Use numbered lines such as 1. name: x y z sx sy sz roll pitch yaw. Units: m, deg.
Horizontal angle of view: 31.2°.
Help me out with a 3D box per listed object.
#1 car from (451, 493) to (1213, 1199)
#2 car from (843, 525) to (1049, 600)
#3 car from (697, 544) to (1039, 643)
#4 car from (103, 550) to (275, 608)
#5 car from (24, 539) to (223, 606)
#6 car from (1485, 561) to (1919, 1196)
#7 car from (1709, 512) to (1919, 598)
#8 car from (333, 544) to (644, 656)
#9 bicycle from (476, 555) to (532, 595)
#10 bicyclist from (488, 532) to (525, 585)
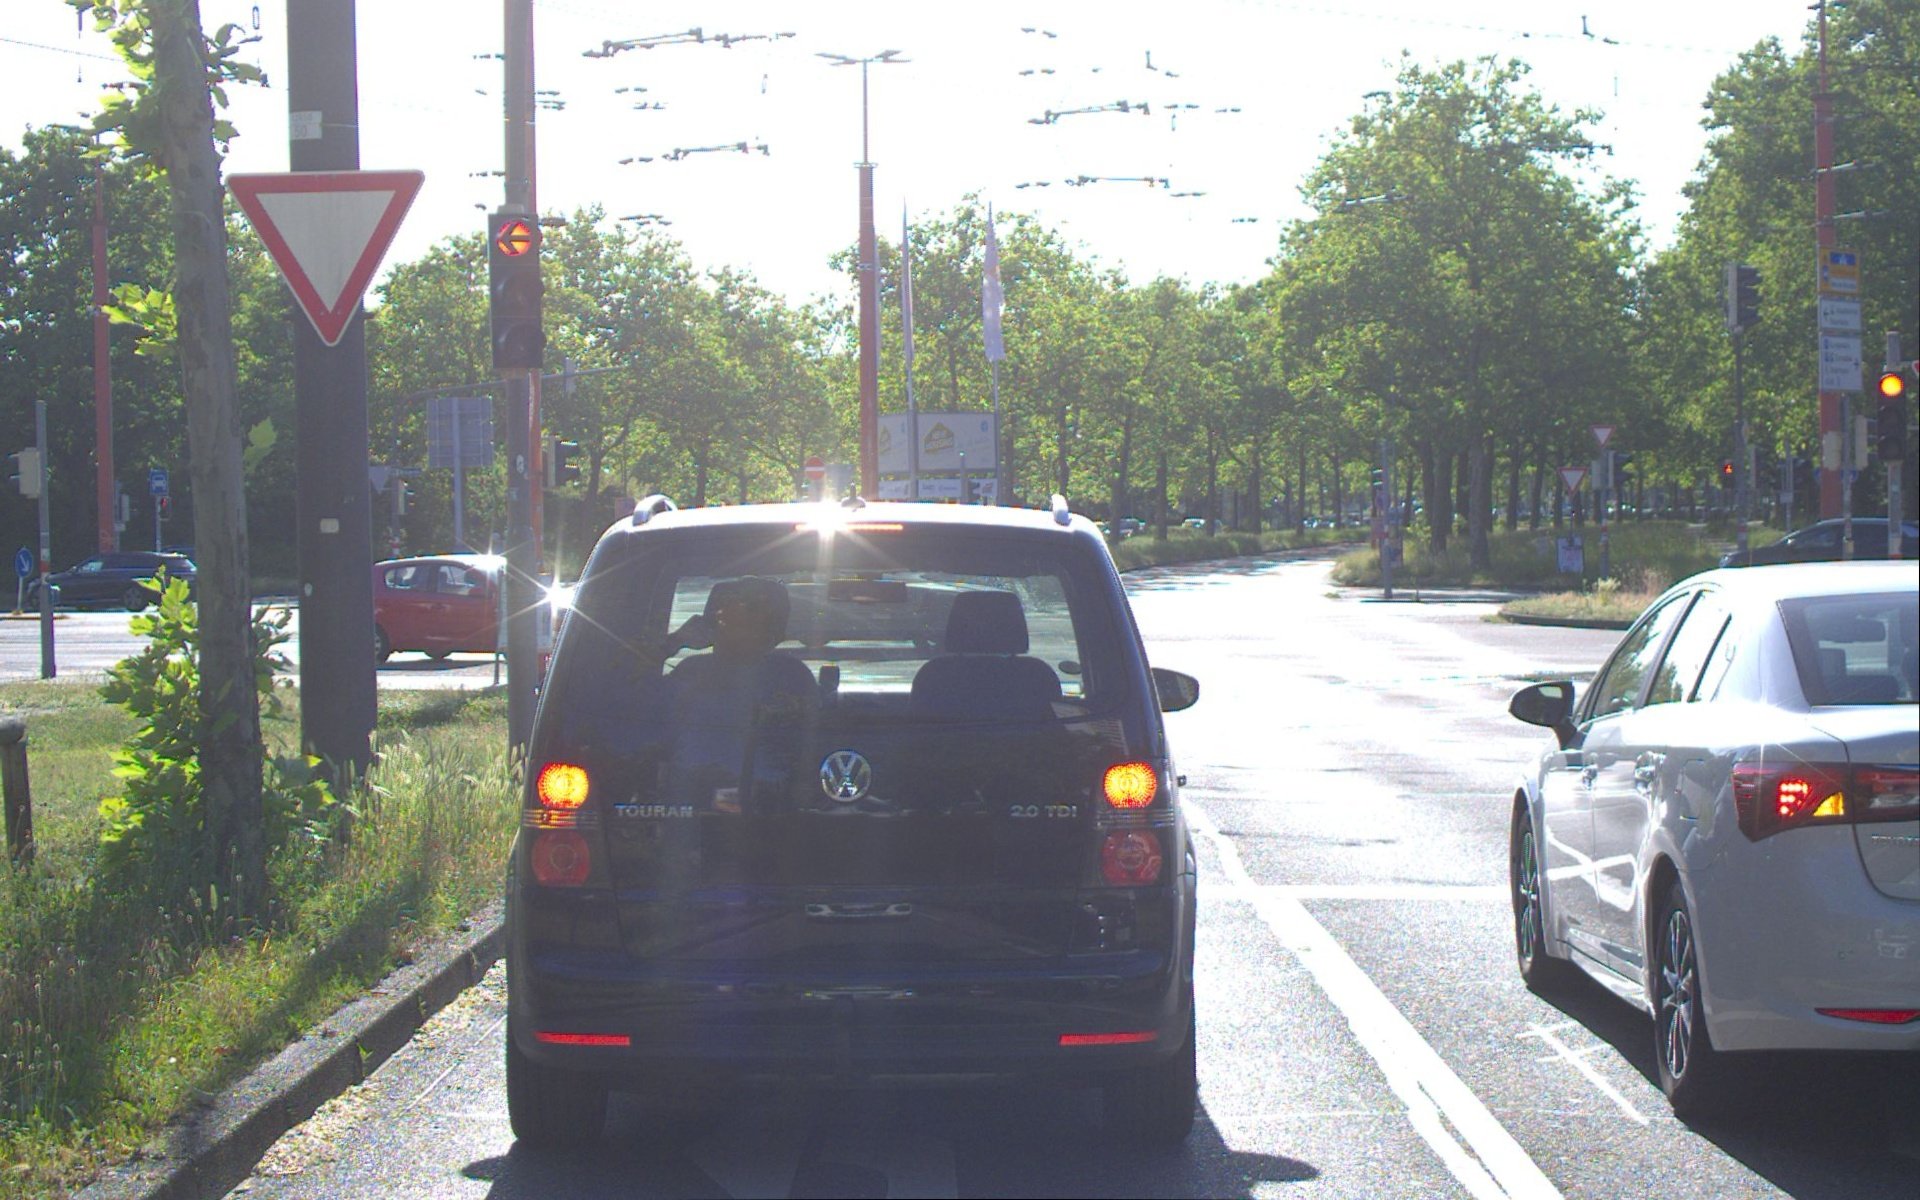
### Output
1. car: -0.314 0.544 9.881 1.737 1.635 4.000 0 1 -1
2. car: -0.305 -0.818 74.275 3.993 1.575 1.997 0 1 27
3. car: -1.344 -0.109 49.452 4.660 1.358 1.769 0 1 29
4. car: -21.913 -0.614 97.705 4.452 1.590 2.000 -1 1 -25
5. car: -20.438 -0.668 84.002 4.459 1.590 1.997 0 1 26
6. car: 2.690 0.628 10.082 1.715 1.449 4.144 0 1 1
7. car: 16.693 -0.850 65.326 4.459 1.590 1.997 0 1 26
8. car: -6.567 -0.017 47.844 3.993 1.489 1.769 0 1 27
9. bicycle: -12.522 -0.684 94.421 0.735 1.086 1.959 0 1 18
10. bicyclist: -12.491 -1.152 94.633 0.693 1.452 0.874 0 1 18
